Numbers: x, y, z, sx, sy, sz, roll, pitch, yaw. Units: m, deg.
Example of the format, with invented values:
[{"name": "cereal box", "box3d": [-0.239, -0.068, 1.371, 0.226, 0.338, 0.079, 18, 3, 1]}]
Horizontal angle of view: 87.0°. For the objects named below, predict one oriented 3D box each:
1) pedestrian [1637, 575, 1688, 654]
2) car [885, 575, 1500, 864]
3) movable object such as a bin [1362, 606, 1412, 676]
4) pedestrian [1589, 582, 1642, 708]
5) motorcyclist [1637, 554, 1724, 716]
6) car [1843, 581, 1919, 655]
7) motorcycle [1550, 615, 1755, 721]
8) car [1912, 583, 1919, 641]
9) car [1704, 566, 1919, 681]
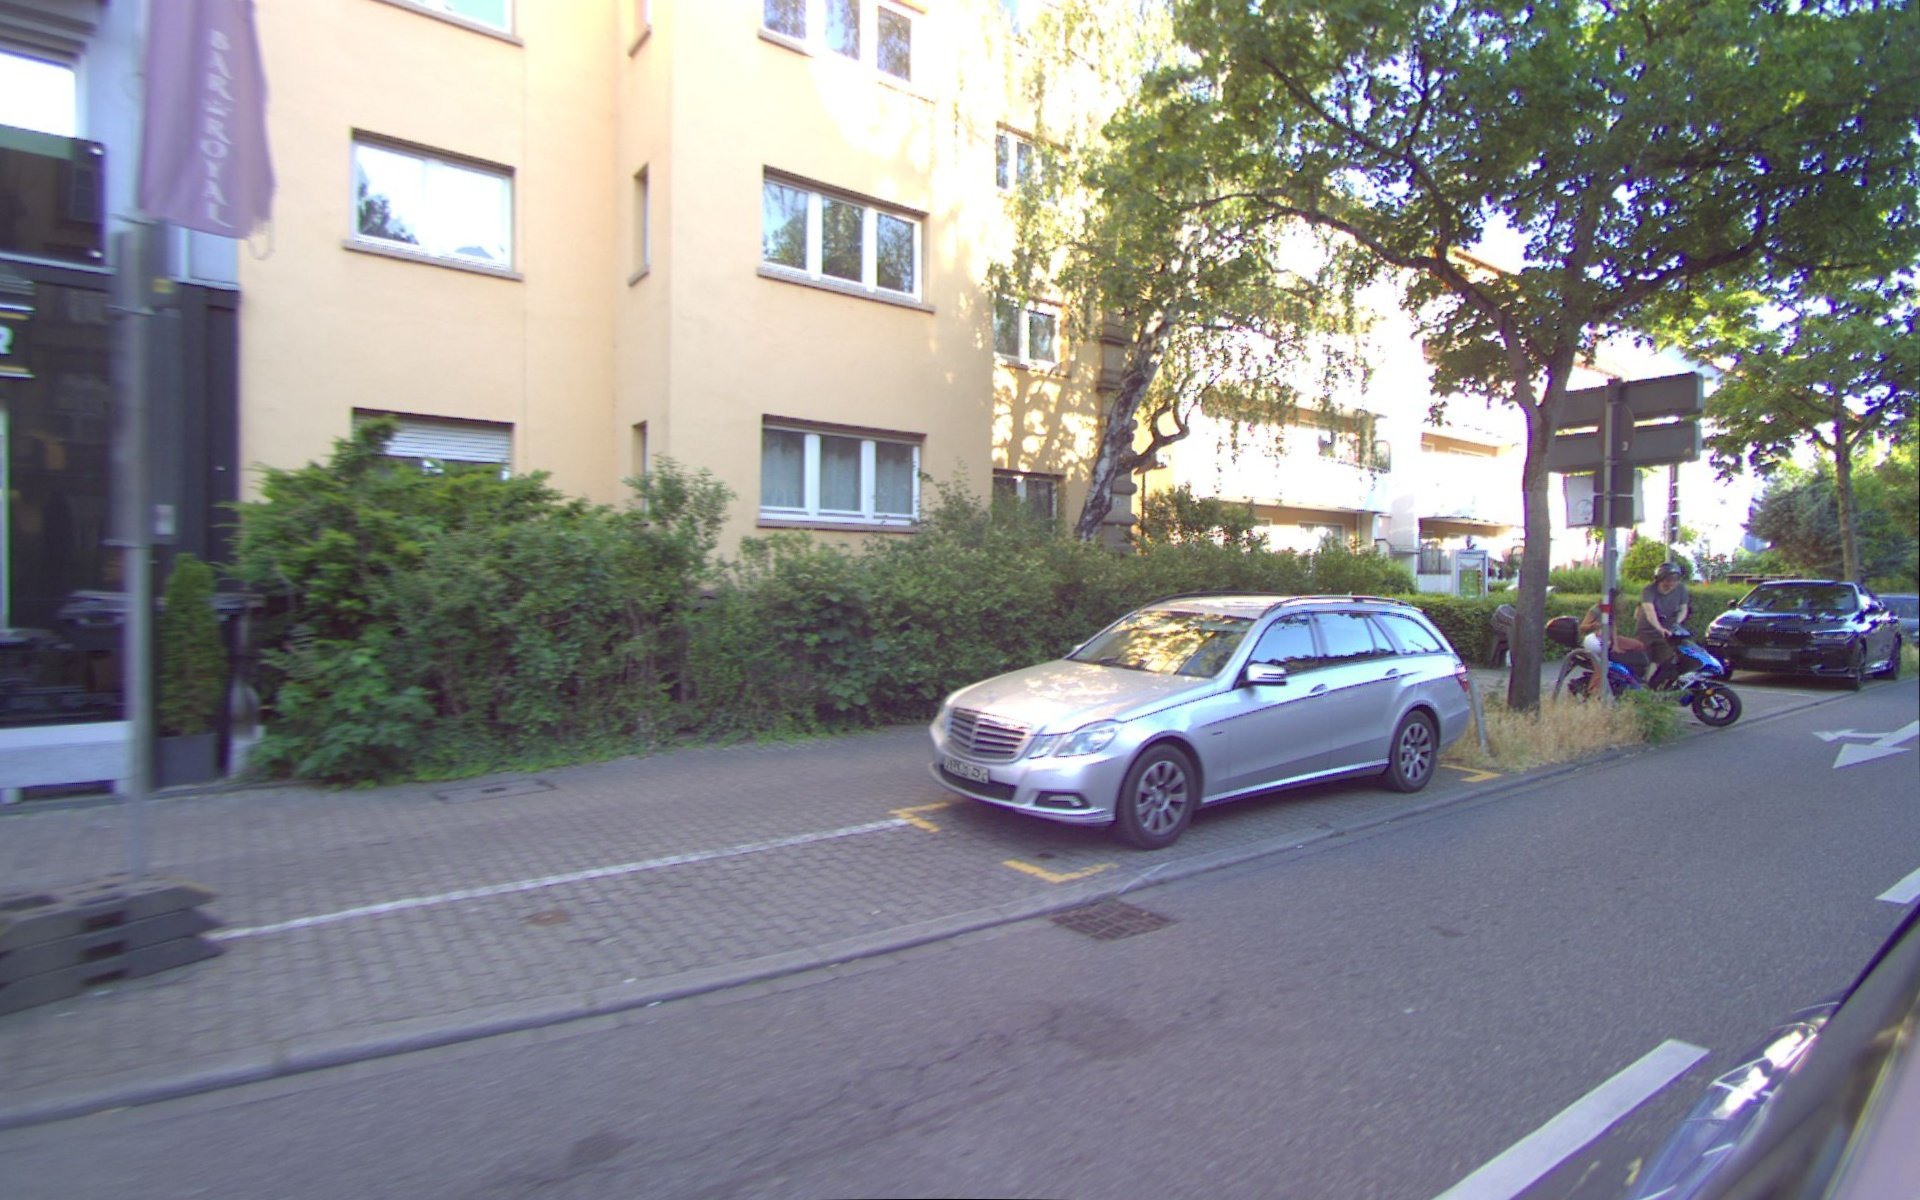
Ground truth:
[{"name": "pedestrian", "box3d": [14.814, 0.292, 21.346, 0.569, 1.636, 0.748, 0, 1, -39]}, {"name": "car", "box3d": [1.943, 0.613, 7.647, 4.744, 1.531, 1.862, -1, 2, -36]}, {"name": "movable object such as a bin", "box3d": [6.822, 0.643, 16.182, 0.536, 1.072, 0.496, 0, 1, -25]}, {"name": "pedestrian", "box3d": [7.798, 0.507, 12.027, 0.438, 1.448, 0.694, 0, 0, 41]}, {"name": "motorcyclist", "box3d": [8.476, 0.376, 11.889, 0.735, 1.800, 1.072, 0, 0, 41]}, {"name": "car", "box3d": [21.262, 0.354, 22.538, 4.353, 1.490, 1.720, -1, 2, -40]}, {"name": "motorcycle", "box3d": [8.121, 0.749, 11.915, 1.924, 1.084, 0.808, 1, 1, 42]}, {"name": "car", "box3d": [26.632, 0.317, 26.510, 4.402, 1.466, 1.775, -1, 2, -38]}, {"name": "car", "box3d": [14.458, 0.307, 17.040, 4.709, 1.675, 1.953, -1, 1, -39]}]
